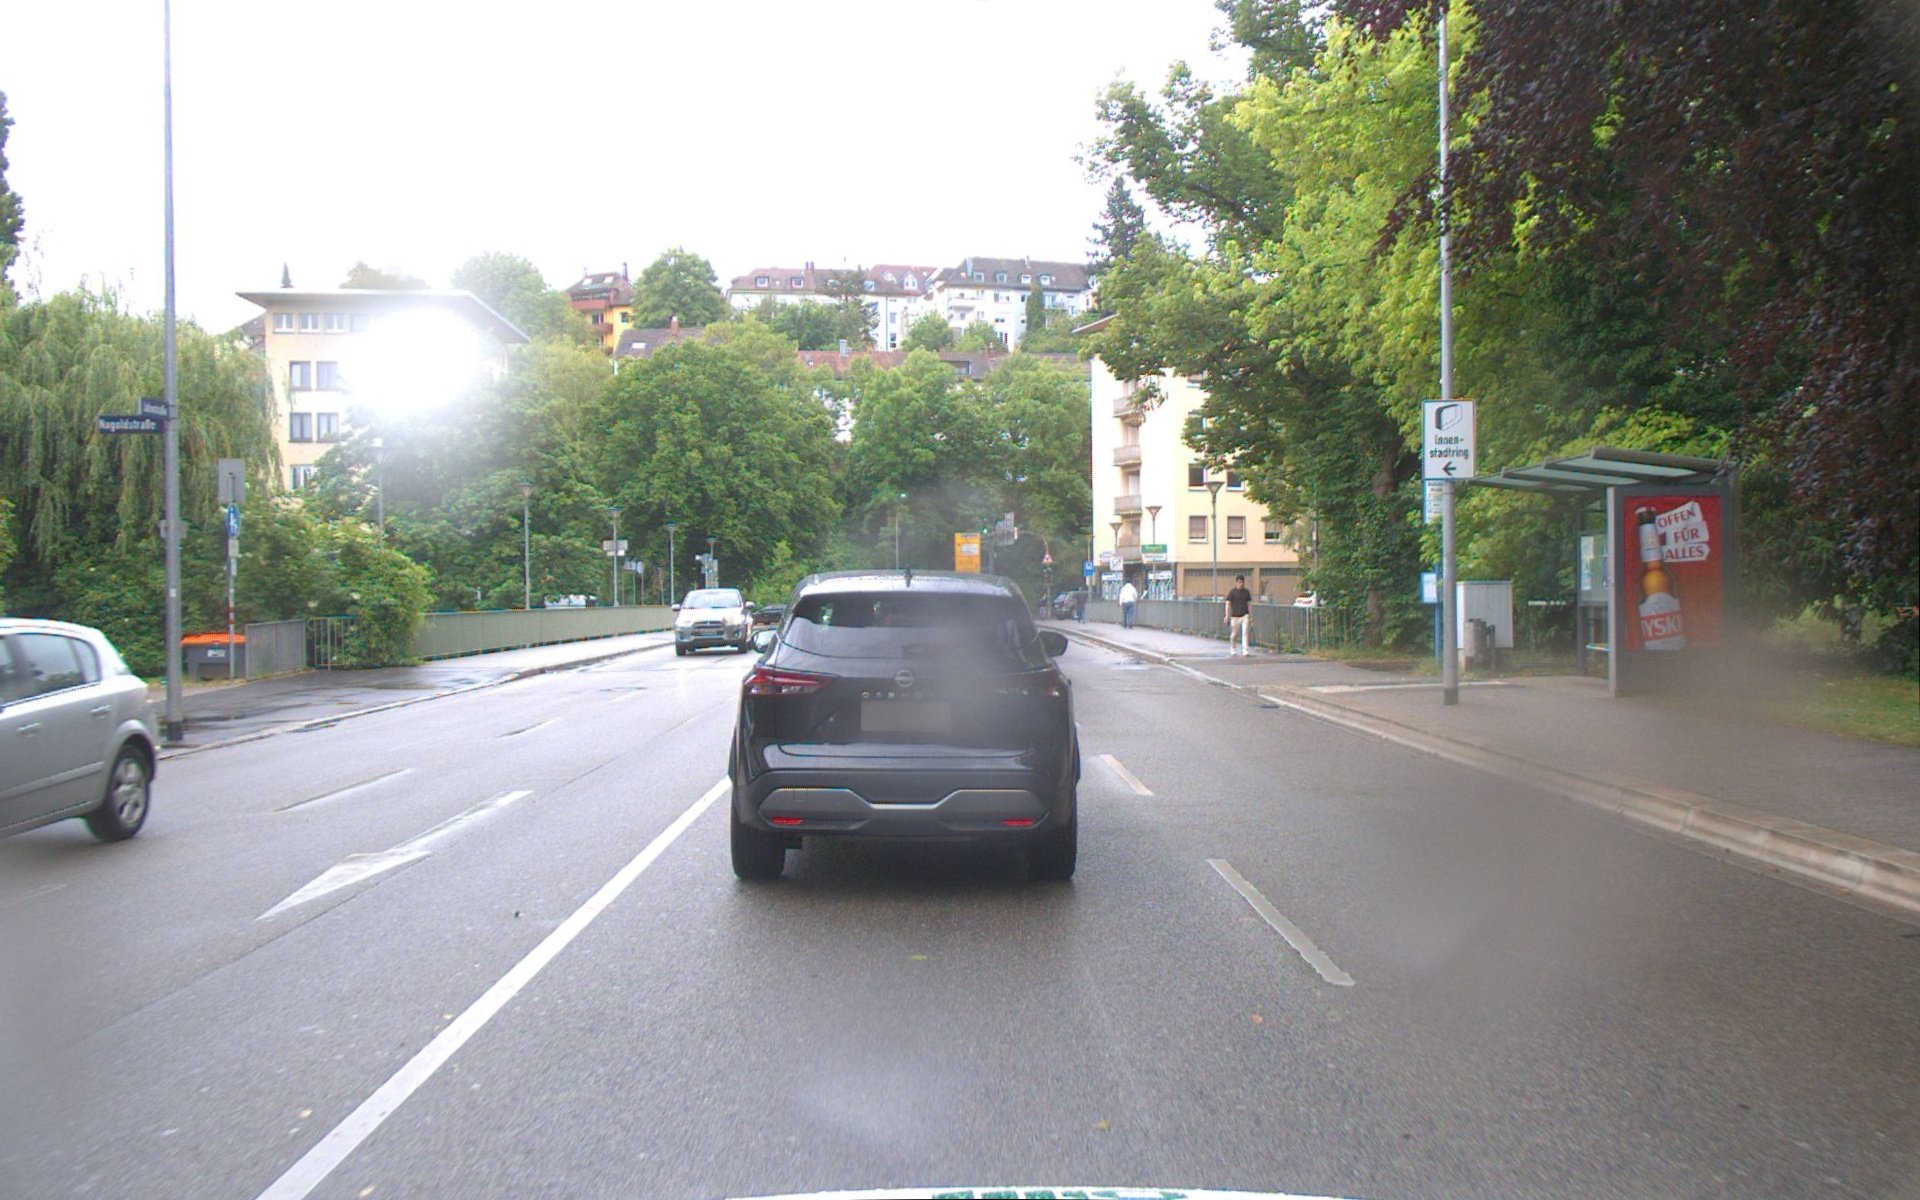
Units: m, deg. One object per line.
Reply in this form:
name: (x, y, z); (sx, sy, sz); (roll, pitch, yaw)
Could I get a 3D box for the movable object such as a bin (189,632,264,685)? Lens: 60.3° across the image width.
movable object such as a bin: (-13.064, 1.032, 29.479); (0.946, 0.892, 0.832); (-1, 0, -1)

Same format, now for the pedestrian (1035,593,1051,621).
pedestrian: (4.882, 0.422, 97.831); (0.845, 1.647, 0.839); (-2, 0, -1)

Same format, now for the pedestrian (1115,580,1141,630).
pedestrian: (6.135, 0.193, 60.406); (0.764, 1.783, 1.060); (-1, 0, -1)

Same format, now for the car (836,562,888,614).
car: (-4.717, -0.617, 80.554); (2.243, 2.349, 6.508); (-2, 1, -1)

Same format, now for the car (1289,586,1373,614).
car: (21.026, -0.008, 93.855); (4.370, 1.400, 1.808); (-1, 2, -18)

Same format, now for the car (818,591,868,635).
car: (-4.339, 0.446, 61.555); (1.746, 1.499, 4.164); (-2, 1, -3)

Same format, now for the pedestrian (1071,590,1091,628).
pedestrian: (5.557, 0.400, 75.947); (0.745, 1.706, 0.781); (-3, 0, -1)

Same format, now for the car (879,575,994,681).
car: (-0.399, 0.420, 27.703); (1.774, 1.631, 3.999); (1, 0, -1)

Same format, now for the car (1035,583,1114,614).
car: (6.804, -0.089, 98.200); (4.315, 1.678, 1.867); (-2, 0, -27)

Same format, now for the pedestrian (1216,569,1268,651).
pedestrian: (6.048, 0.213, 35.519); (0.830, 1.705, 1.167); (-3, 0, -1)

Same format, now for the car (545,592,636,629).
car: (-20.077, 0.574, 90.049); (4.655, 1.886, 1.996); (-1, 2, -10)

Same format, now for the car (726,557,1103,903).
car: (-0.245, 0.601, 9.828); (1.774, 1.631, 3.999); (0, 0, -1)

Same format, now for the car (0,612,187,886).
car: (-6.144, 0.863, 9.269); (1.776, 1.440, 4.047); (-2, 1, -2)

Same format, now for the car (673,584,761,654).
car: (-6.098, 0.441, 41.925); (1.777, 1.606, 4.229); (-2, 1, -3)
